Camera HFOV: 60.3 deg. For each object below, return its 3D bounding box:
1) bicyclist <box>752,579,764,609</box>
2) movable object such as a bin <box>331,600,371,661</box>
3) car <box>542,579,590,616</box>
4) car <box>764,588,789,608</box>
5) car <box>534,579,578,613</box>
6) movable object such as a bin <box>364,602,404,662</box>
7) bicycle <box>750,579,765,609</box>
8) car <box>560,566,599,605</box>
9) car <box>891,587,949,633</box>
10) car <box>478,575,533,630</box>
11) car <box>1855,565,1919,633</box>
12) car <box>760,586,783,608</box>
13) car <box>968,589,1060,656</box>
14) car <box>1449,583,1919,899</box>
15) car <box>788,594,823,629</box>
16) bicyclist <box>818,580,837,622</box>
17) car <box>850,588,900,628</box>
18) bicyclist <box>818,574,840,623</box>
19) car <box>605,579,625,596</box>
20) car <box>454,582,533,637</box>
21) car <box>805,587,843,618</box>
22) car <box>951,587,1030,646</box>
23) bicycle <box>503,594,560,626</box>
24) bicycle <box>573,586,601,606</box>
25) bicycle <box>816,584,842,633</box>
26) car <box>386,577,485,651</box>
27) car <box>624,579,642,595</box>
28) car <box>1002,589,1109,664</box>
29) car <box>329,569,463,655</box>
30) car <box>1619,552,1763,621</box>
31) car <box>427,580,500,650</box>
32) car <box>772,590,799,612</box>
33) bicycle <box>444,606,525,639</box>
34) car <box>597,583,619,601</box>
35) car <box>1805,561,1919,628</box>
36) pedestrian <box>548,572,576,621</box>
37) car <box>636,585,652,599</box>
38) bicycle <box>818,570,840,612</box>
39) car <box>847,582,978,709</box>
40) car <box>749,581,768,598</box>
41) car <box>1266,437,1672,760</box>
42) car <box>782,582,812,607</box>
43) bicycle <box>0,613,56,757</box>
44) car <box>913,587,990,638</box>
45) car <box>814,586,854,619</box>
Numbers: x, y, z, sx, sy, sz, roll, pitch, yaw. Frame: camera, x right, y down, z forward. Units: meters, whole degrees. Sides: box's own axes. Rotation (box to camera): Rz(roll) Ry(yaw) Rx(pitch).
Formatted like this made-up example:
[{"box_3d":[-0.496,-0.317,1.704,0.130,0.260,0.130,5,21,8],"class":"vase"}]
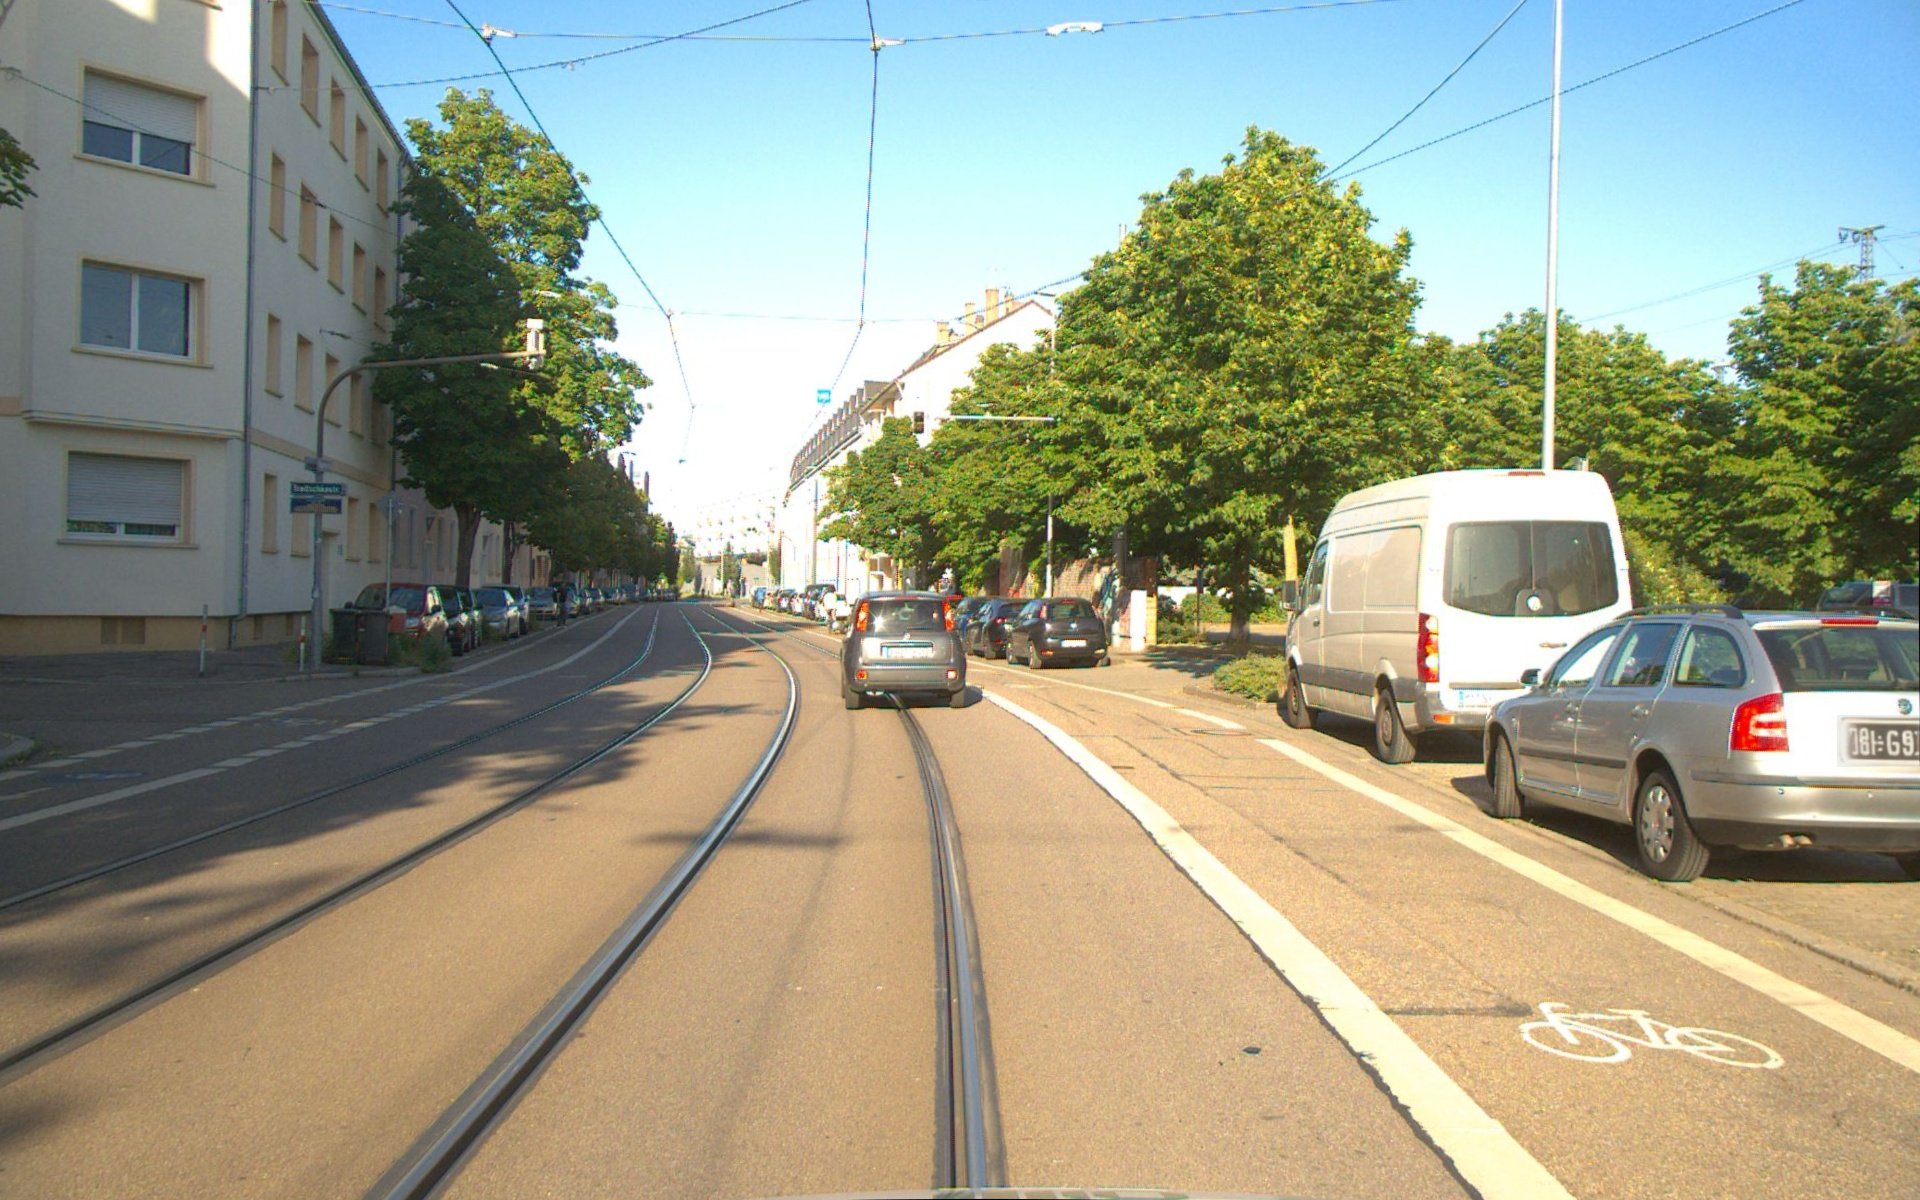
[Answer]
[{"box_3d":[-13.909,-0.437,113.980,0.702,2.049,0.829,2,0,-11],"class":"bicyclist"},{"box_3d":[-10.374,0.515,28.199,0.475,1.005,0.658,2,0,-8],"class":"movable object such as a bin"},{"box_3d":[-17.277,-0.113,72.690,1.776,1.534,4.181,2,0,-10],"class":"car"},{"box_3d":[-14.110,-0.179,127.160,1.555,1.430,3.367,2,0,-11],"class":"car"},{"box_3d":[-20.035,-0.211,82.064,1.776,1.534,4.669,2,0,-10],"class":"car"},{"box_3d":[-9.854,0.542,28.314,0.475,1.005,0.658,2,0,-8],"class":"movable object such as a bin"},{"box_3d":[-13.929,-0.434,113.821,0.728,2.049,2.804,2,0,-11],"class":"bicycle"},{"box_3d":[-20.592,-0.777,89.713,1.776,1.977,4.323,2,0,-10],"class":"car"},{"box_3d":[-1.434,0.317,58.381,1.657,1.557,3.994,0,0,-7],"class":"car"},{"box_3d":[-15.070,0.048,55.009,1.623,1.697,4.280,2,0,-14],"class":"car"},{"box_3d":[27.977,0.040,46.567,4.596,1.847,1.958,2,0,-9],"class":"car"},{"box_3d":[-15.262,-0.255,133.651,1.555,1.627,3.367,2,0,-11],"class":"car"},{"box_3d":[1.294,0.516,41.306,1.657,1.557,4.348,0,0,-7],"class":"car"},{"box_3d":[4.753,0.696,10.478,1.871,1.556,4.599,1,0,-1],"class":"car"},{"box_3d":[-9.447,0.672,100.917,1.626,1.978,4.652,2,0,-11],"class":"car"},{"box_3d":[-5.683,0.031,71.044,0.687,1.790,0.755,2,0,-11],"class":"bicyclist"},{"box_3d":[-3.483,0.295,67.531,1.605,1.534,3.389,-1,1,-10],"class":"car"},{"box_3d":[-4.876,-0.056,61.704,0.687,1.790,0.755,2,0,-11],"class":"bicyclist"},{"box_3d":[-33.104,-1.187,158.813,1.675,1.523,3.714,2,0,-9],"class":"car"},{"box_3d":[-13.849,0.260,49.310,1.657,1.501,4.650,2,0,-9],"class":"car"},{"box_3d":[-7.448,0.127,90.420,1.626,1.598,3.866,2,0,-11],"class":"car"},{"box_3d":[0.815,0.418,45.988,1.657,1.557,3.994,0,0,-7],"class":"car"},{"box_3d":[-15.268,0.369,58.982,1.889,1.064,0.475,2,0,-10],"class":"bicycle"},{"box_3d":[-24.256,-0.245,107.554,1.699,1.217,0.371,2,0,-14],"class":"bicycle"},{"box_3d":[-4.906,0.290,61.873,0.663,1.777,2.152,2,0,-11],"class":"bicycle"},{"box_3d":[-11.870,0.289,37.657,1.755,1.556,3.846,2,0,-13],"class":"car"},{"box_3d":[-34.157,-1.350,172.625,1.675,1.523,3.714,2,0,-9],"class":"car"},{"box_3d":[2.040,0.536,36.388,1.657,1.557,3.994,0,0,-7],"class":"car"},{"box_3d":[-11.184,0.213,33.048,1.656,1.556,3.994,2,0,-7],"class":"car"},{"box_3d":[25.172,-0.443,57.015,4.114,2.280,2.137,1,0,-13],"class":"car"},{"box_3d":[-12.521,0.348,41.874,1.564,1.642,3.717,2,0,-15],"class":"car"},{"box_3d":[-12.160,0.058,114.962,1.555,1.429,3.367,-2,1,-11],"class":"car"},{"box_3d":[-13.162,0.622,45.842,2.089,0.839,0.476,2,0,-11],"class":"bicycle"},{"box_3d":[-30.658,-0.688,144.182,1.675,1.523,3.714,2,0,-9],"class":"car"},{"box_3d":[27.759,-0.122,48.976,4.596,1.847,1.958,2,0,-9],"class":"car"},{"box_3d":[-14.914,-0.144,62.011,0.840,1.808,0.728,0,1,-30],"class":"pedestrian"},{"box_3d":[-35.970,-0.897,188.160,1.675,1.523,3.714,2,0,-9],"class":"car"},{"box_3d":[-5.632,-0.383,70.936,0.663,1.777,2.152,2,0,-11],"class":"bicycle"},{"box_3d":[-0.616,0.563,22.963,1.616,1.568,4.234,1,0,0],"class":"car"},{"box_3d":[-19.354,-1.017,158.881,1.555,1.627,3.367,2,0,-11],"class":"car"},{"box_3d":[4.899,-0.025,17.127,2.136,2.712,6.089,-1,0,-2],"class":"car"},{"box_3d":[-10.577,-0.383,106.954,1.626,1.526,3.121,2,0,-11],"class":"car"},{"box_3d":[-8.094,0.703,13.504,0.502,1.154,2.028,2,0,-7],"class":"bicycle"},{"box_3d":[-0.324,0.357,52.838,1.659,1.557,3.987,0,0,-13],"class":"car"},{"box_3d":[-6.551,0.116,85.656,1.626,1.598,3.490,2,0,-11],"class":"car"}]
